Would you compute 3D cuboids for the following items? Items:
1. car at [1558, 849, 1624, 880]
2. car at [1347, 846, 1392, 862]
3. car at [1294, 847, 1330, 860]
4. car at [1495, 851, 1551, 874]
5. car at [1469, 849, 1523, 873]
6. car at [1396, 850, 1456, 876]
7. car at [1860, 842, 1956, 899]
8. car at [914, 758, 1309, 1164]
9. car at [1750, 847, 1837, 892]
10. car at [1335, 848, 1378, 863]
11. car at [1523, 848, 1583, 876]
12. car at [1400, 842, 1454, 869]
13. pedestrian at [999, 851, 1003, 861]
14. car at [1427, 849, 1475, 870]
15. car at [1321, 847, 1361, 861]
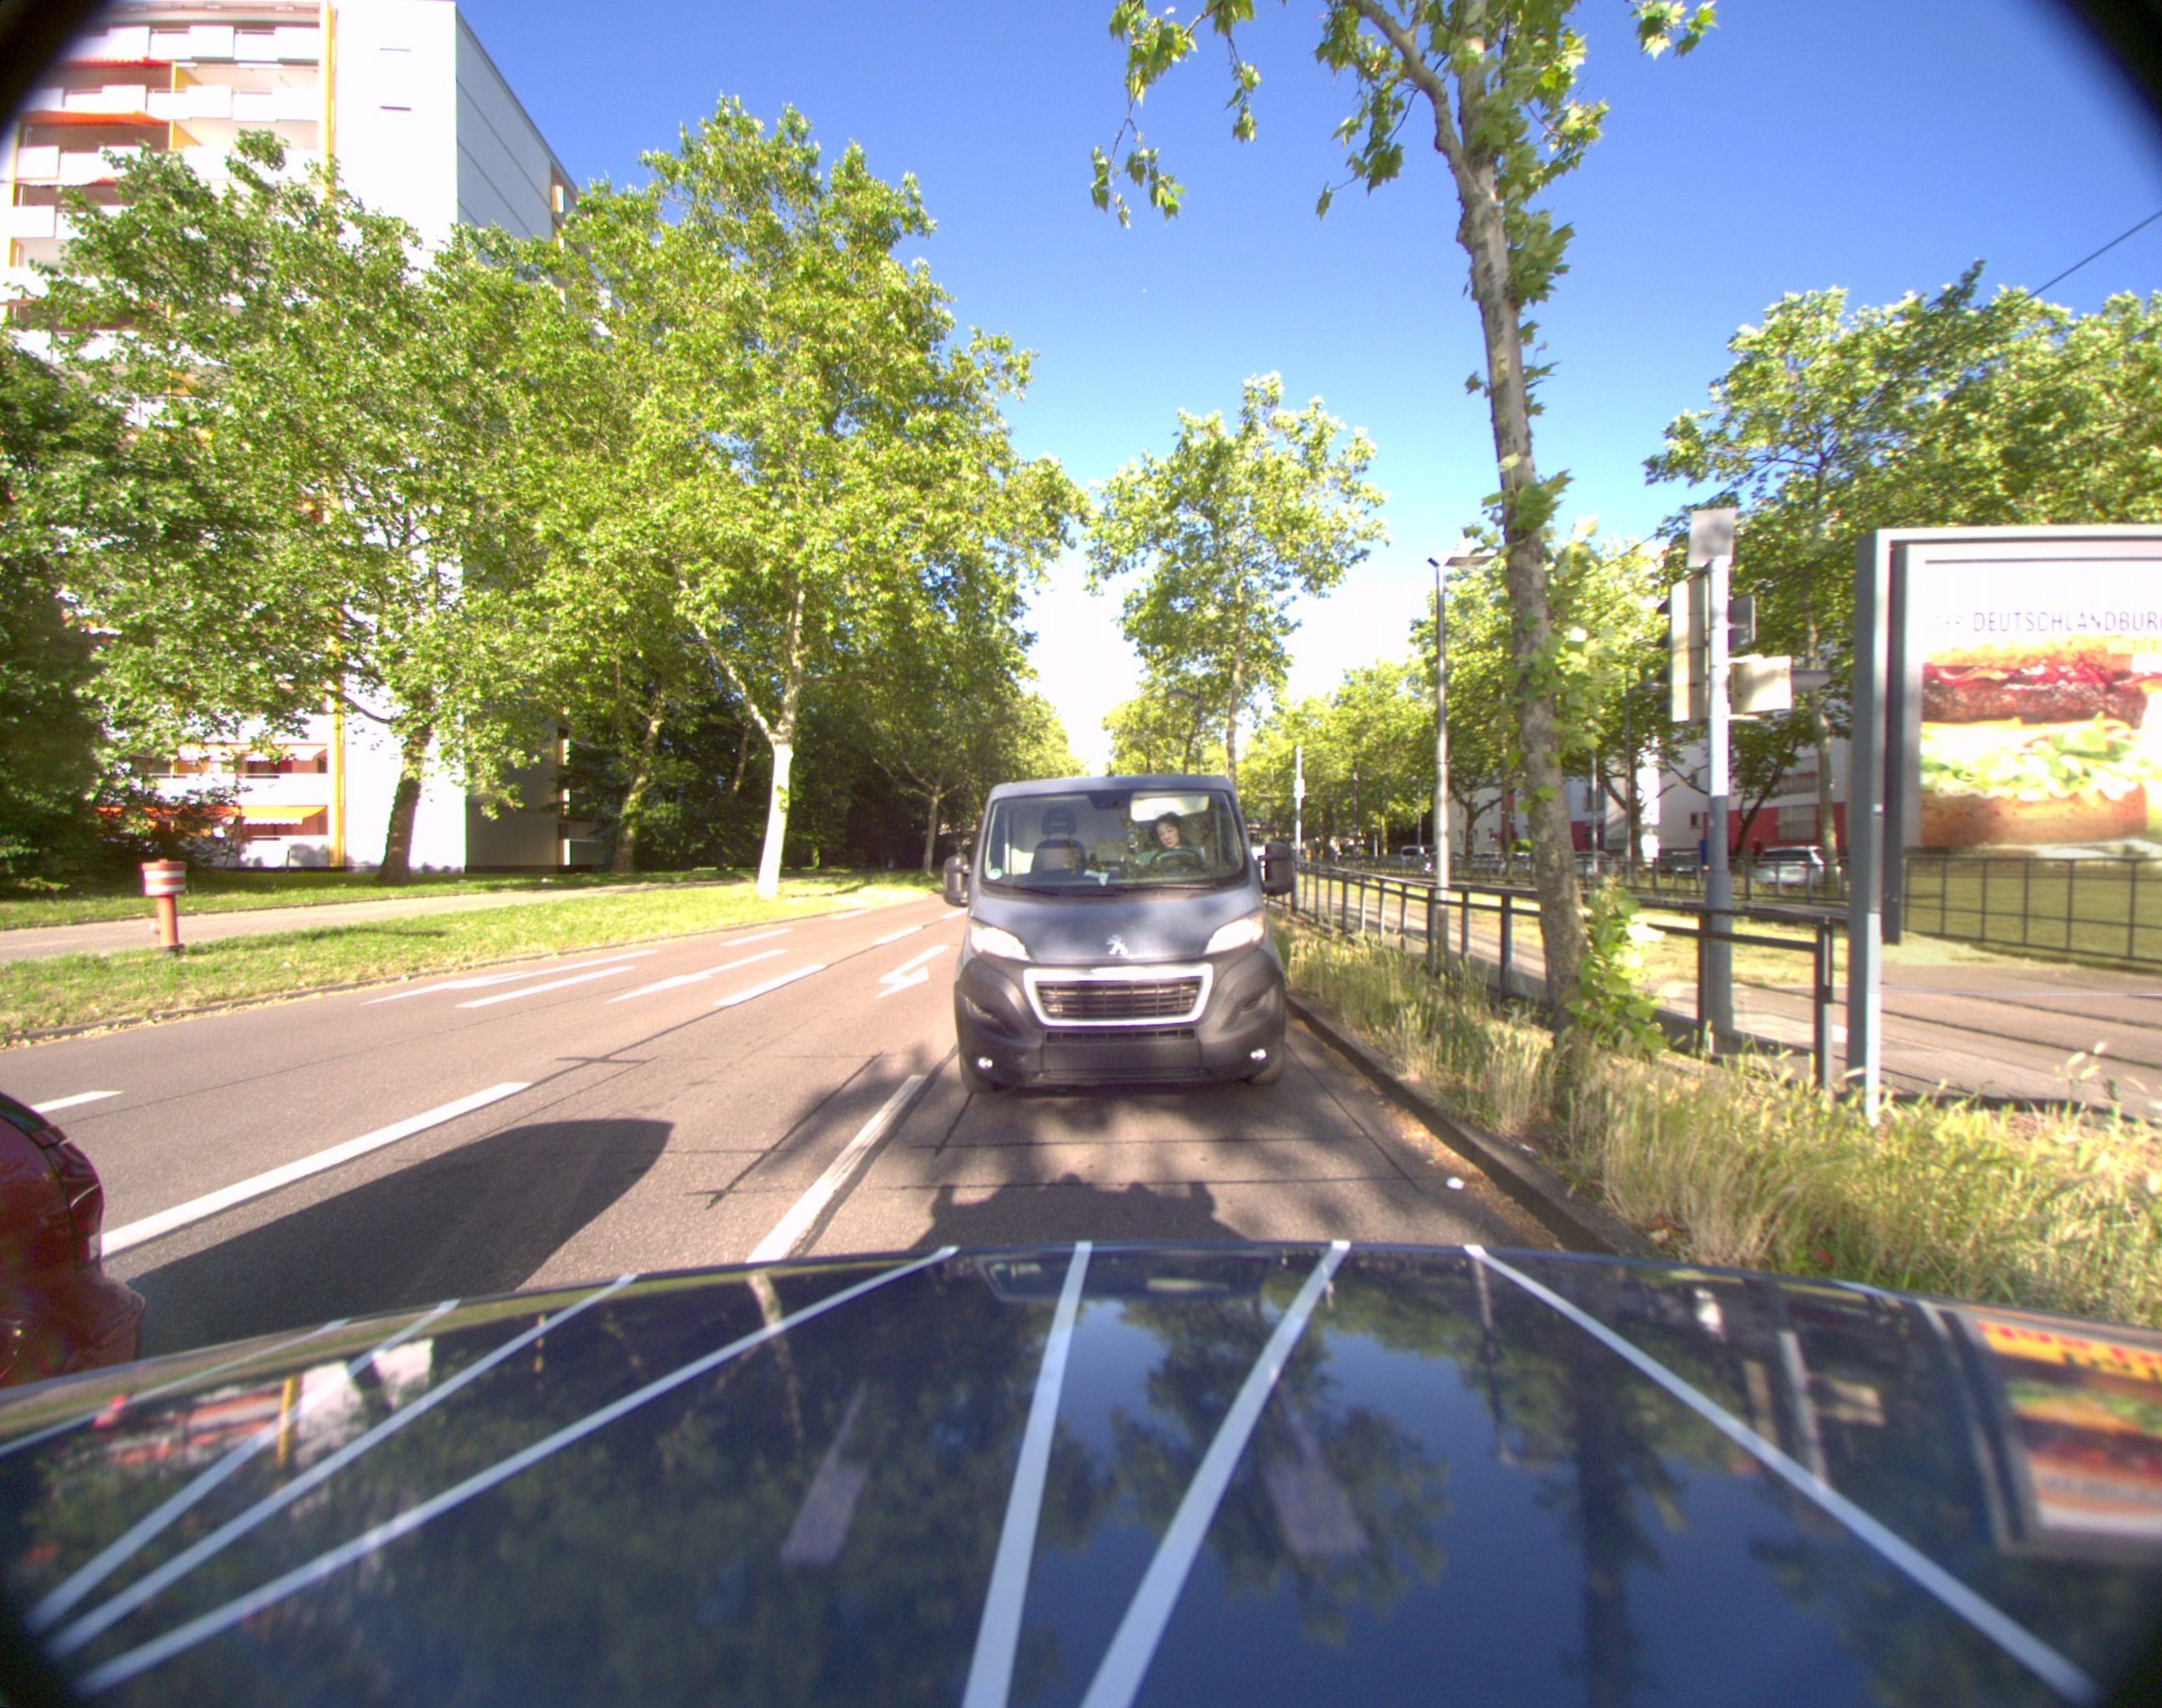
[{"bbox_3d":[25.328,0.498,37.681,3.689,1.384,1.645,-1,1,-38],"label":"car"},{"bbox_3d":[26.709,-0.010,70.244,4.376,1.367,1.919,-1,1,-39],"label":"car"},{"bbox_3d":[27.199,-0.062,89.420,4.376,1.367,1.919,-1,1,-39],"label":"car"},{"bbox_3d":[26.198,0.479,44.951,3.689,1.234,1.645,-1,1,-39],"label":"car"},{"bbox_3d":[25.955,0.412,47.486,3.689,1.440,1.645,-1,1,-39],"label":"car"},{"bbox_3d":[19.697,0.473,43.502,1.825,1.412,3.758,-1,0,2],"label":"car"},{"bbox_3d":[25.015,0.459,22.951,3.689,1.558,1.683,-1,1,-38],"label":"car"},{"bbox_3d":[0.198,0.555,6.575,2.040,2.102,5.113,-2,0,1],"label":"car"},{"bbox_3d":[25.054,0.492,26.677,3.689,1.425,1.683,-1,1,-38],"label":"car"},{"bbox_3d":[26.586,0.096,73.269,4.376,1.367,1.919,-1,1,-39],"label":"car"},{"bbox_3d":[25.808,0.427,41.509,3.689,1.440,1.645,-1,1,-39],"label":"car"},{"bbox_3d":[25.958,0.082,56.983,4.376,1.873,1.919,-1,1,-39],"label":"car"},{"bbox_3d":[-11.662,0.343,110.713,0.398,1.454,0.417,-1,1,7],"label":"pedestrian"},{"bbox_3d":[26.243,0.345,53.890,3.689,1.388,1.645,-1,1,-39],"label":"car"},{"bbox_3d":[27.240,0.021,79.566,4.376,1.367,1.919,-1,1,-39],"label":"car"}]
